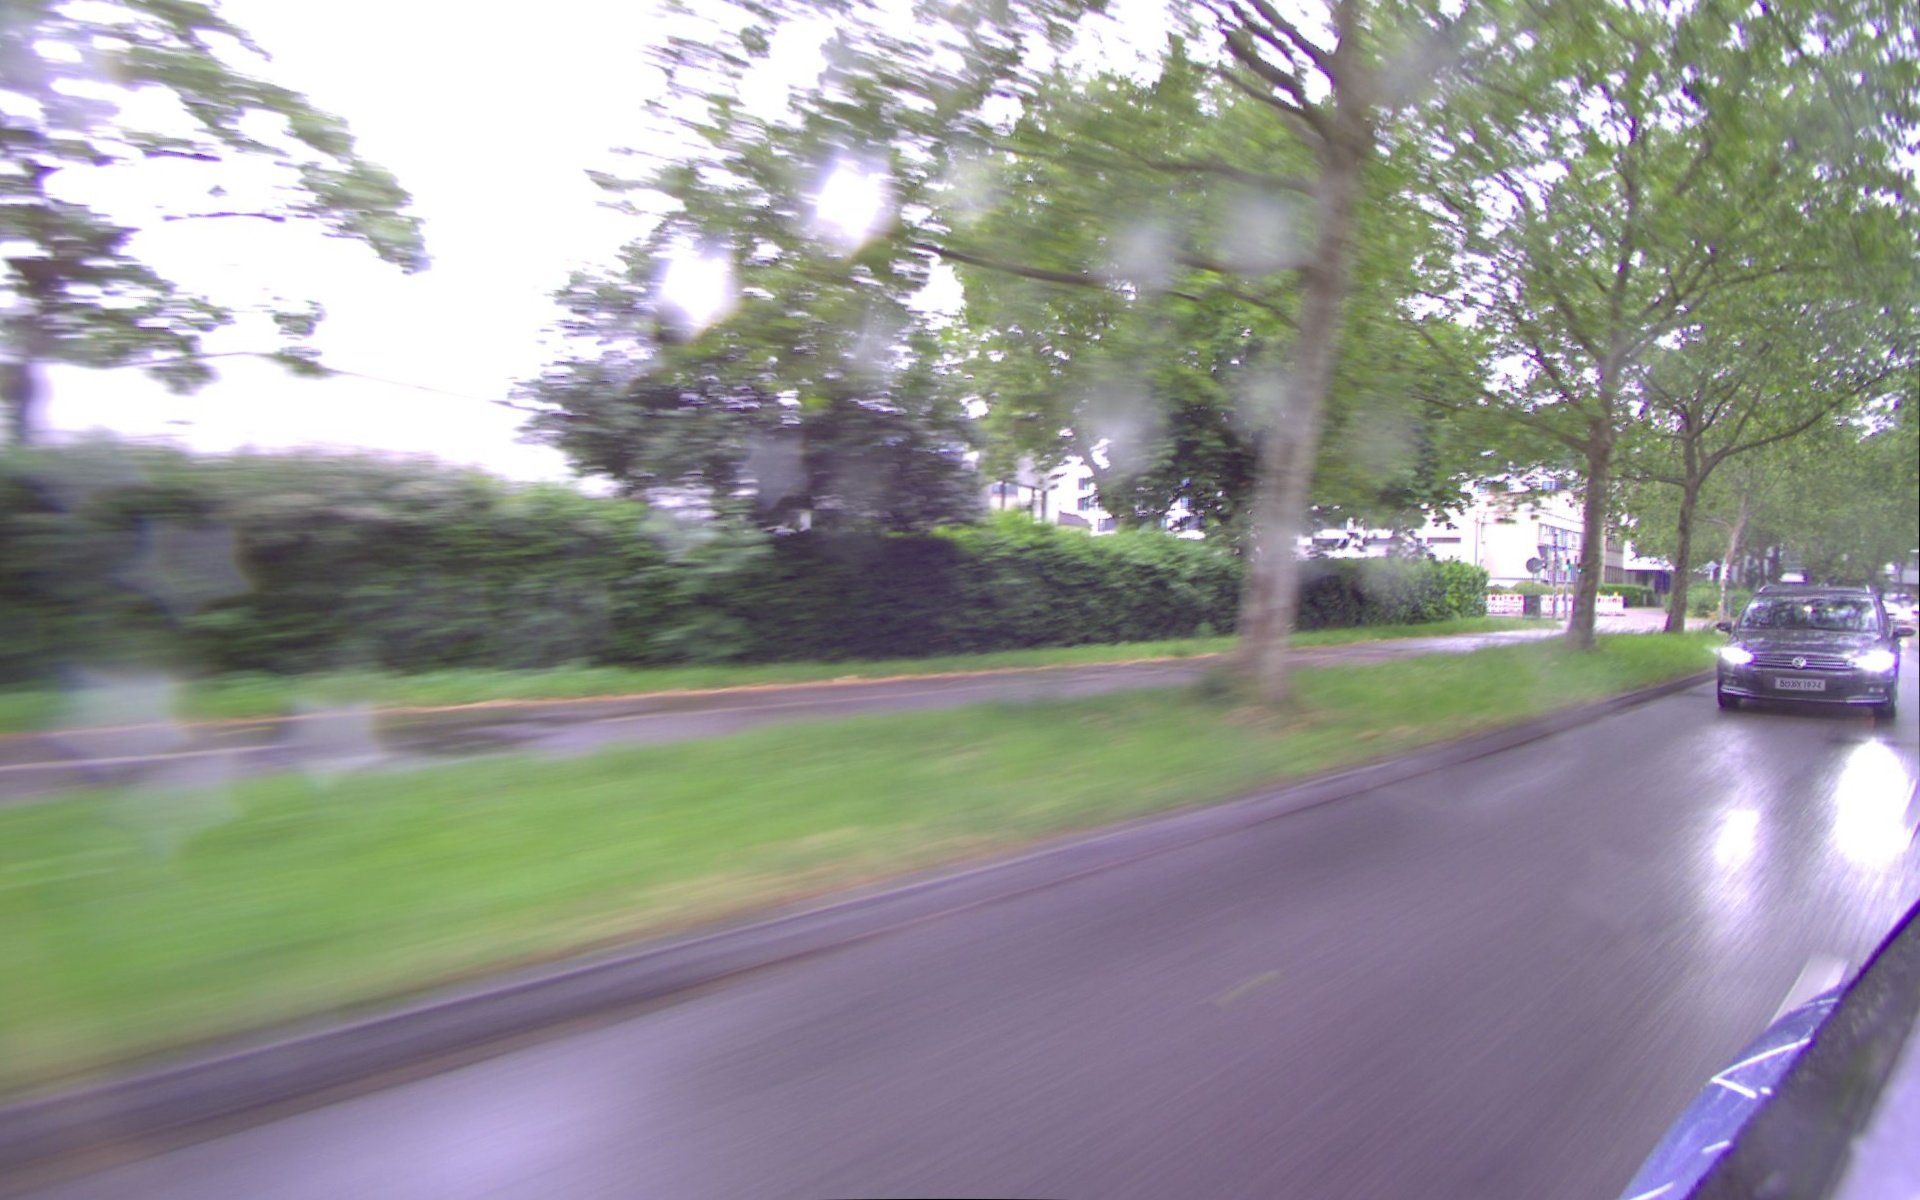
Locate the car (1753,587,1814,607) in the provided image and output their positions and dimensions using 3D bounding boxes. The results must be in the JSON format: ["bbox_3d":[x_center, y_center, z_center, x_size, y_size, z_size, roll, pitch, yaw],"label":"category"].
[{"bbox_3d":[70.579,-0.297,86.732,3.985,1.575,1.758,3,2,42],"label":"car"}]

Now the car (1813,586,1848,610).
[{"bbox_3d":[61.289,-0.179,71.271,1.778,1.575,3.940,2,2,42],"label":"car"}]

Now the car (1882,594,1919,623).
[{"bbox_3d":[55.707,0.493,59.704,1.778,1.575,3.940,2,1,41],"label":"car"}]

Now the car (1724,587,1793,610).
[{"bbox_3d":[60.350,-0.127,76.511,3.985,1.575,1.758,3,2,42],"label":"car"}]

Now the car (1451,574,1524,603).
[{"bbox_3d":[34.789,-0.760,66.782,3.985,1.792,1.758,3,2,42],"label":"car"}]

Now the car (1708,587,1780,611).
[{"bbox_3d":[56.384,-0.064,72.800,3.985,1.575,1.758,3,2,42],"label":"car"}]

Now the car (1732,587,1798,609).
[{"bbox_3d":[64.049,-0.194,80.526,3.985,1.575,1.758,3,2,42],"label":"car"}]

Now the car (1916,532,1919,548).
[{"bbox_3d":[103.822,-6.409,108.188,3.927,1.575,1.784,0,2,-39],"label":"car"}]

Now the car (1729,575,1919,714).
[{"bbox_3d":[11.753,0.486,13.740,1.778,1.575,3.940,2,2,41],"label":"car"}]
